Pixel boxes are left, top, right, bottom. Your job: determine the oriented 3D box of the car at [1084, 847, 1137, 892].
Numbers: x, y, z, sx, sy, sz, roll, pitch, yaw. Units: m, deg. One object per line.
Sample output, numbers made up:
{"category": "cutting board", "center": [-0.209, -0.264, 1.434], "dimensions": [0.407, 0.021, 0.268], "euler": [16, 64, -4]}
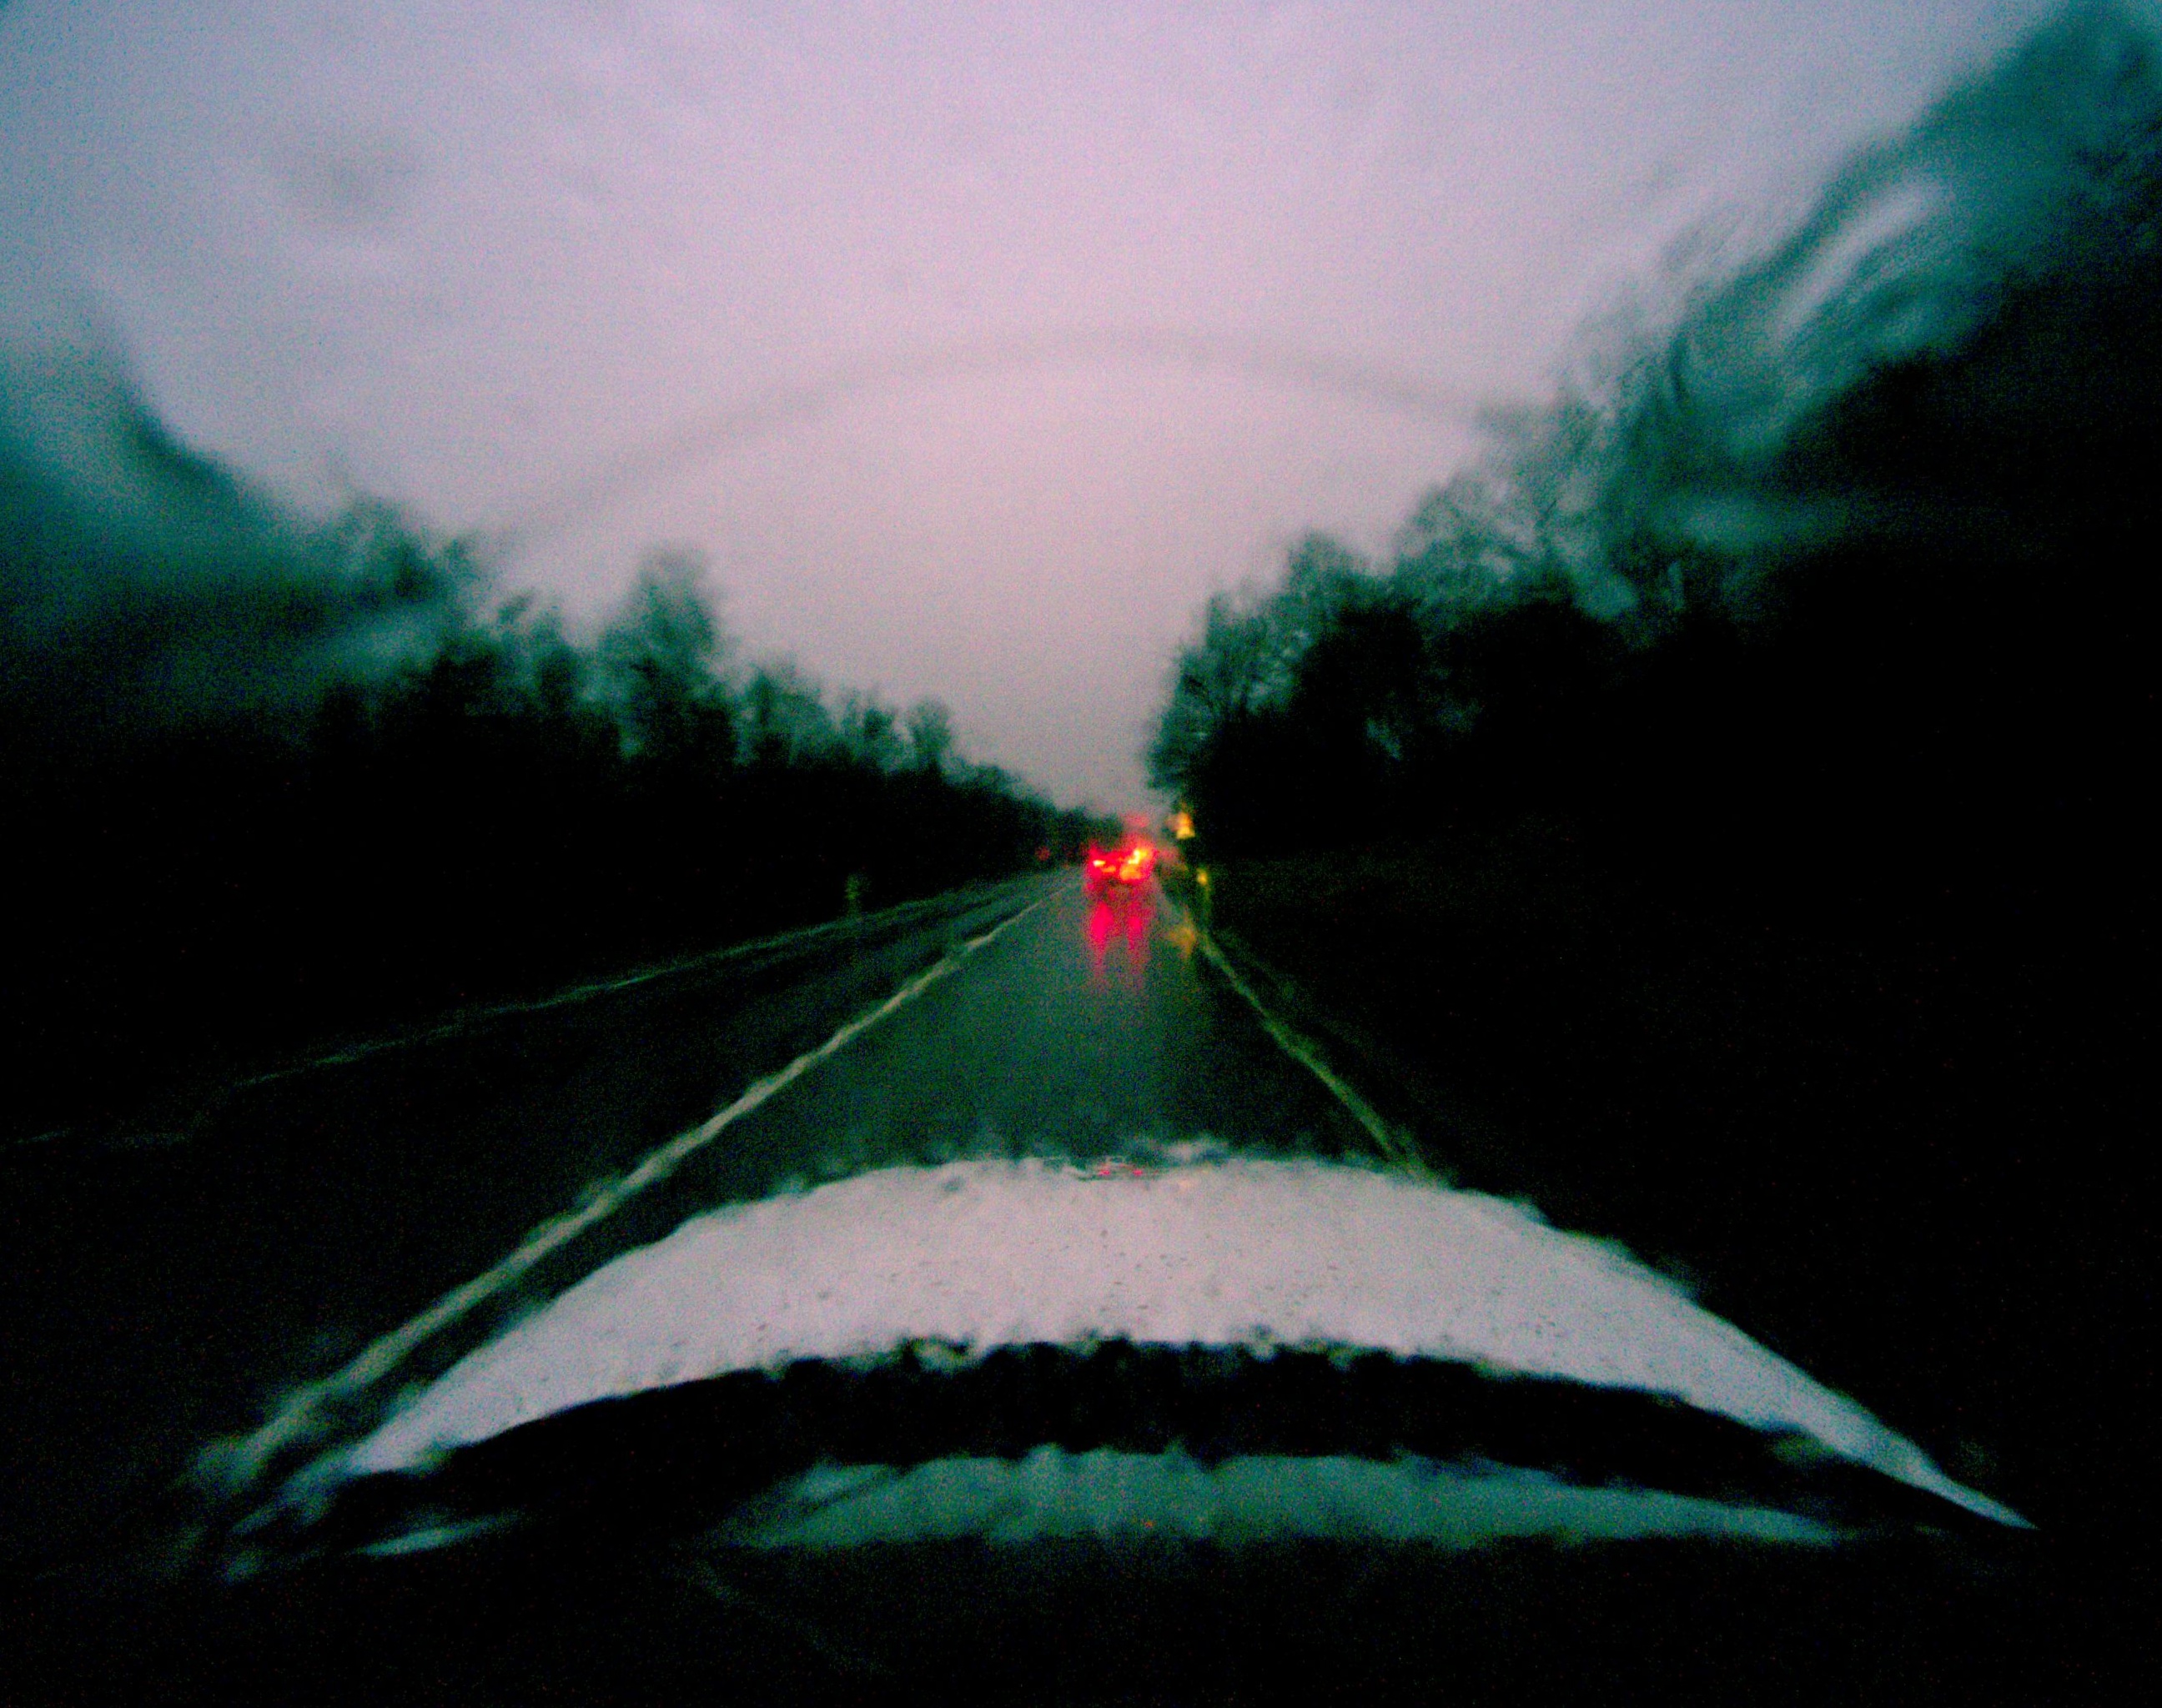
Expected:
{"category": "car", "center": [1.064, 0.506, 28.969], "dimensions": [1.672, 1.389, 4.101], "euler": [-3, 0, 3]}
